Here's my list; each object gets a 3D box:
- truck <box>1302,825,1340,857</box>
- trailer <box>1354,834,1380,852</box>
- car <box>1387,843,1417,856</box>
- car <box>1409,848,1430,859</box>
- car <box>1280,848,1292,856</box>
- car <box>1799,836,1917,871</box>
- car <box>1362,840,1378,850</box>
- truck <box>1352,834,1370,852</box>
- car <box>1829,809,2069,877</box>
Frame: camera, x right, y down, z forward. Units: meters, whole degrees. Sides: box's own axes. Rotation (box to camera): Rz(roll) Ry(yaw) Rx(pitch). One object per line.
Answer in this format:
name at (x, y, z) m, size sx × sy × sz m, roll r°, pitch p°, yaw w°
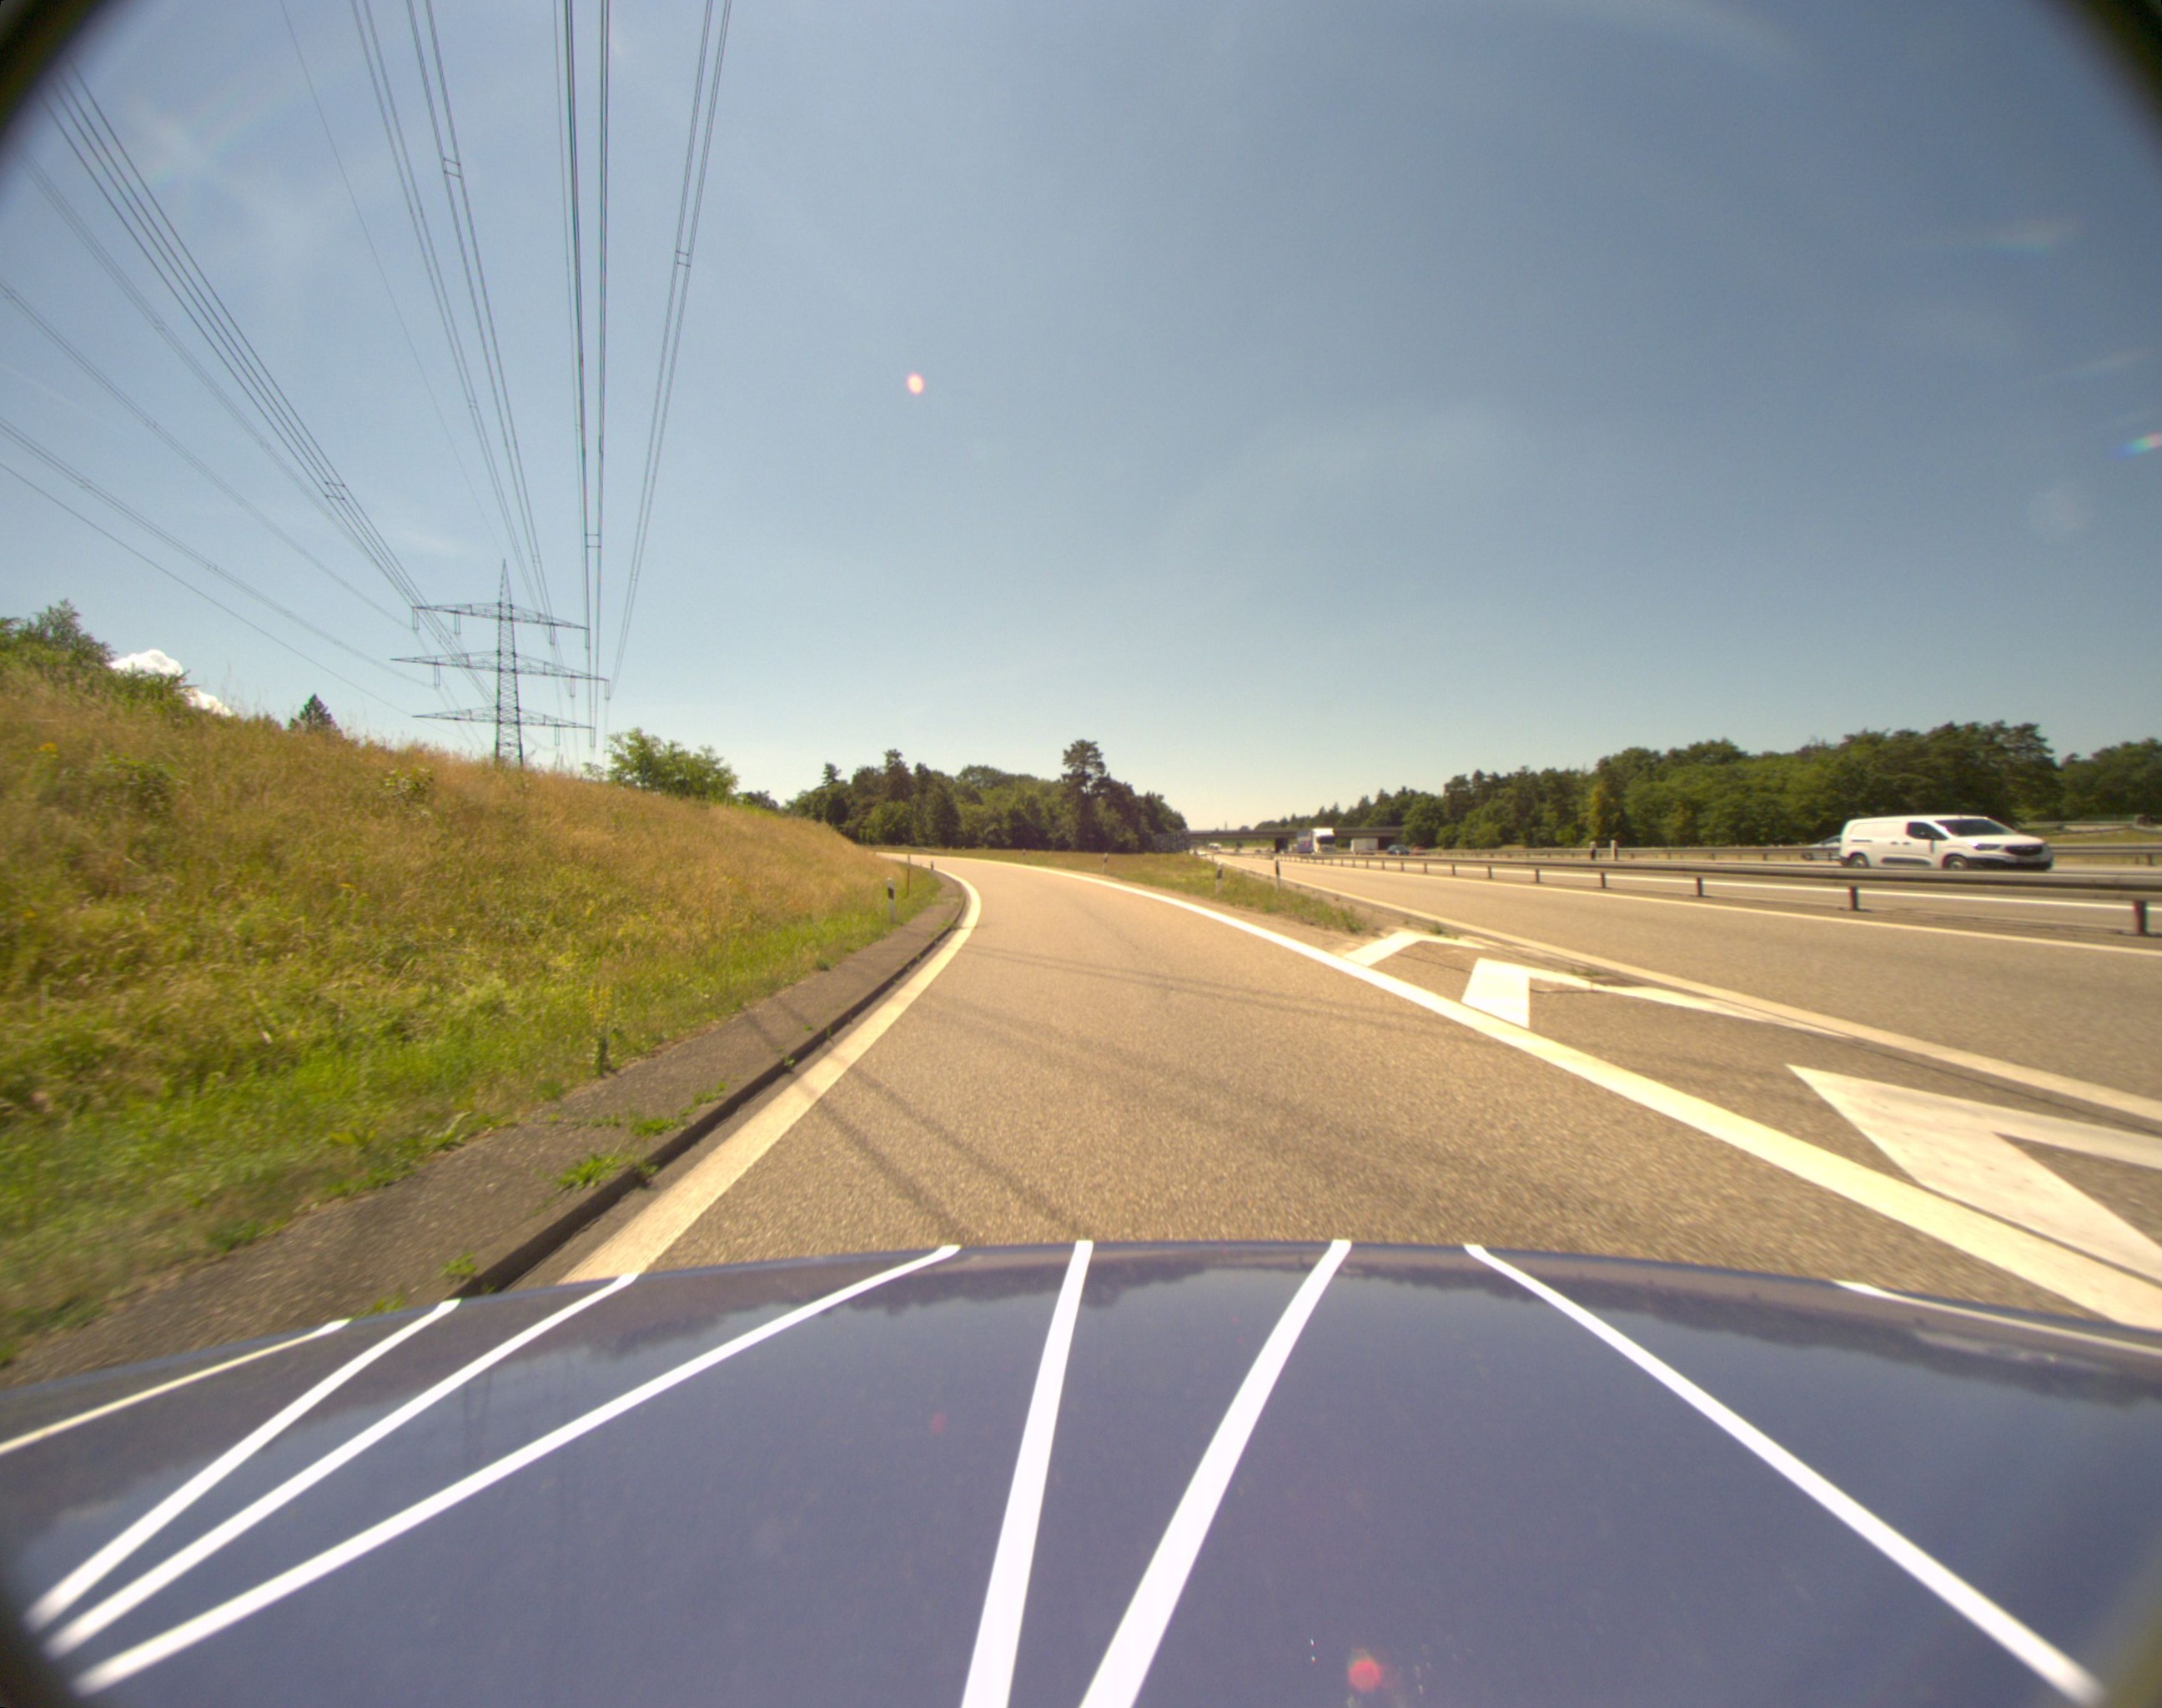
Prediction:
truck at (31.984, -1.691, 101.663) m, size 2.708 × 4.034 × 11.053 m, roll -2°, pitch 0°, yaw 7°
trailer at (69.485, -2.657, 184.921) m, size 2.929 × 4.362 × 14.306 m, roll 1°, pitch 1°, yaw 9°
car at (37.695, -0.549, 89.265) m, size 1.998 × 1.467 × 4.244 m, roll -2°, pitch 0°, yaw 5°
car at (56.957, -0.112, 127.922) m, size 1.965 × 1.718 × 4.001 m, roll 1°, pitch 1°, yaw 7°
car at (45.288, -0.473, 168.105) m, size 1.997 × 1.707 × 4.002 m, roll -2°, pitch 0°, yaw 8°
car at (41.251, -0.069, 40.523) m, size 1.775 × 1.674 × 4.826 m, roll -2°, pitch 2°, yaw 7°
car at (56.400, -1.658, 148.406) m, size 1.997 × 1.837 × 4.361 m, roll -1°, pitch -1°, yaw 8°
truck at (70.643, -2.780, 191.761) m, size 2.944 × 4.368 × 6.275 m, roll 1°, pitch 1°, yaw 9°
car at (25.091, -0.303, 22.321) m, size 1.775 × 1.743 × 5.022 m, roll -1°, pitch 0°, yaw 7°
